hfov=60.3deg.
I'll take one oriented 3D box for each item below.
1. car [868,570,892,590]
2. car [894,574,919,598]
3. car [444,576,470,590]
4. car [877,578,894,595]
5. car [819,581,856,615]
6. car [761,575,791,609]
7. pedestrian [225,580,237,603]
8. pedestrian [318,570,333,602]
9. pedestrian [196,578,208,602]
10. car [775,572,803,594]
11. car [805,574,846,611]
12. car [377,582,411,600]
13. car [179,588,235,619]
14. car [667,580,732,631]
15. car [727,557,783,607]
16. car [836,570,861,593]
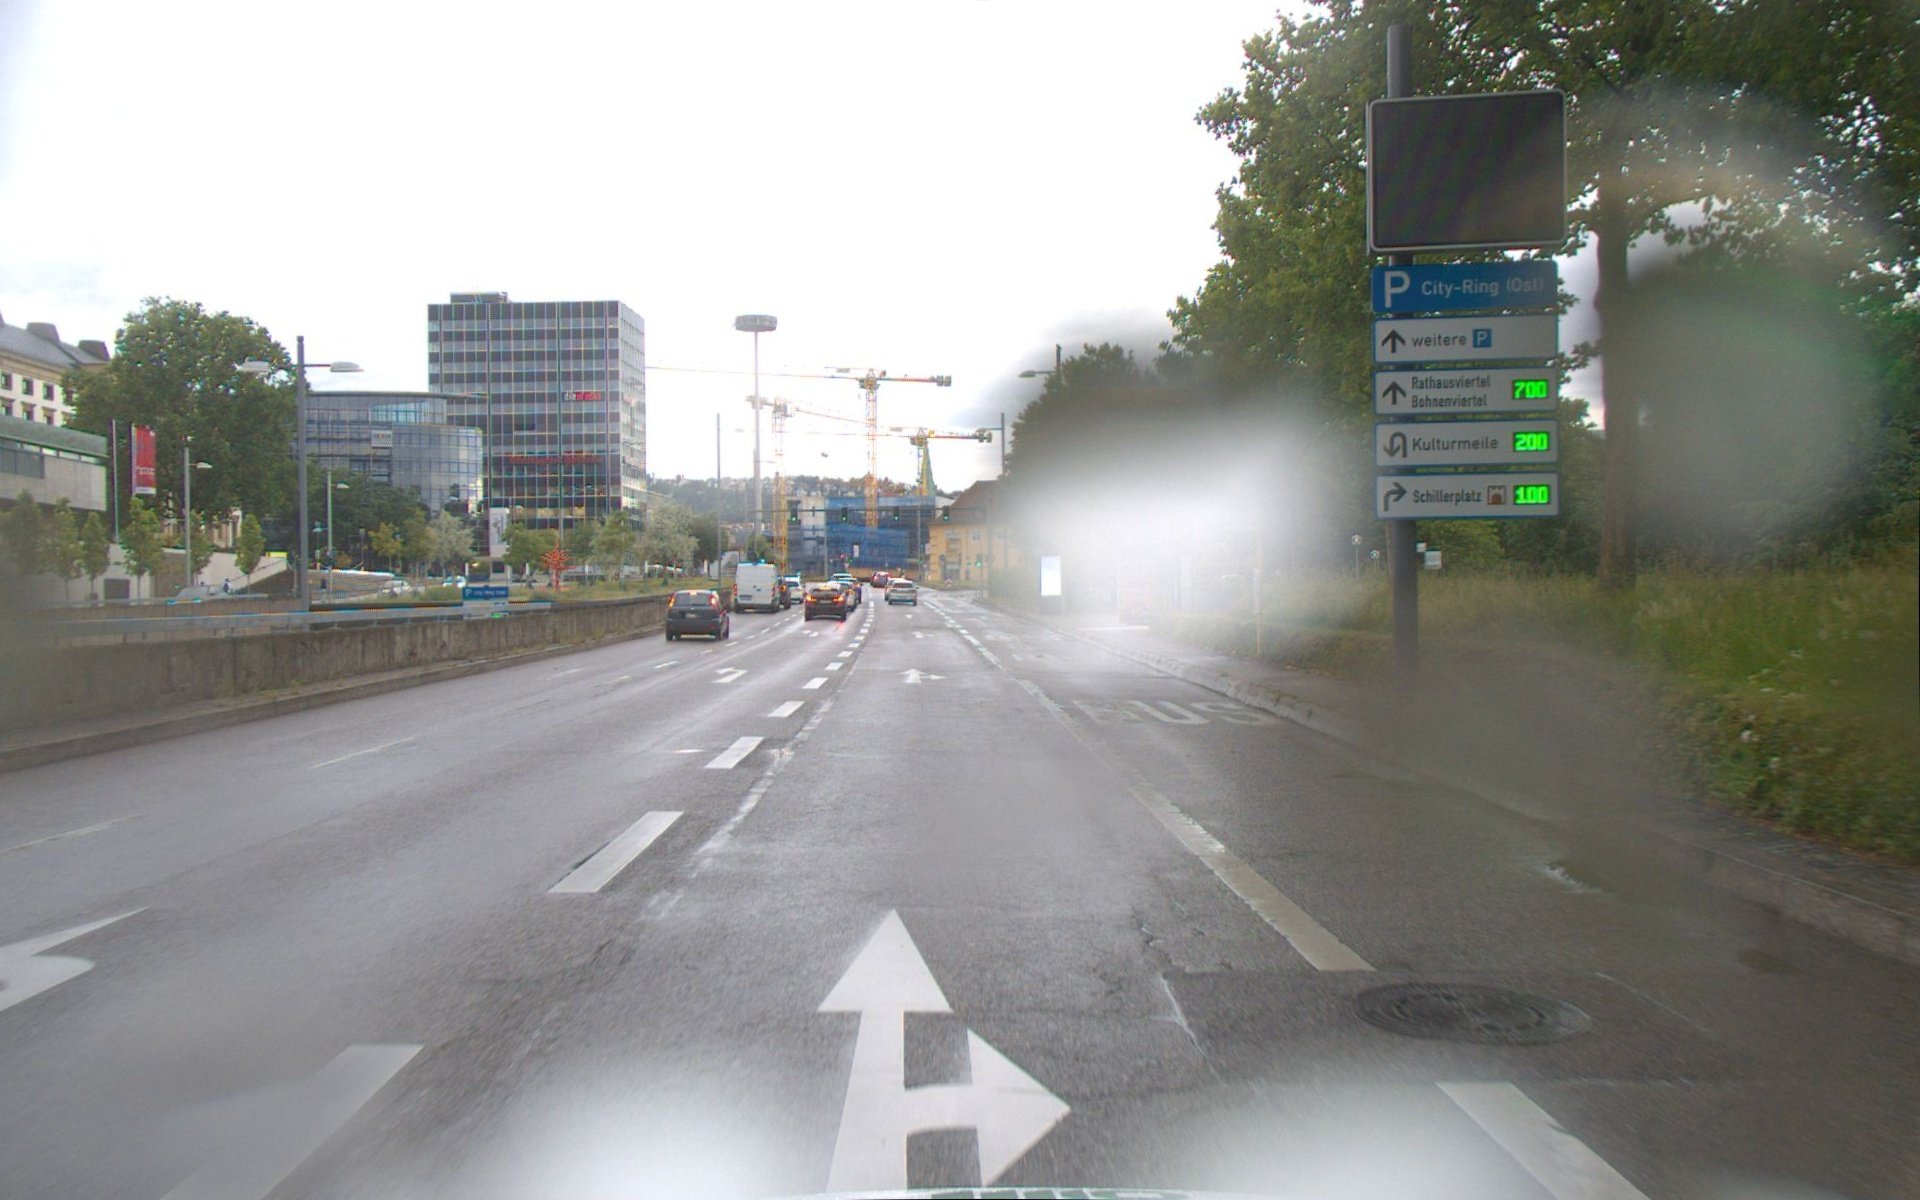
[{"bbox_3d":[-8.006,-1.984,165.659,2.117,1.912,3.770,1,0,0],"label":"car"},{"bbox_3d":[-3.227,-0.820,99.712,1.415,1.383,2.412,1,0,0],"label":"car"},{"bbox_3d":[-43.334,-1.475,142.467,1.411,1.134,3.018,1,0,-3],"label":"car"},{"bbox_3d":[-4.969,-0.897,110.181,1.054,1.007,1.971,1,-1,0],"label":"car"},{"bbox_3d":[-6.356,-0.100,85.713,1.844,1.681,3.454,1,0,-6],"label":"car"},{"bbox_3d":[-9.676,-0.393,87.082,1.435,1.736,3.138,1,0,-5],"label":"car"},{"bbox_3d":[-47.772,-0.551,108.415,0.481,1.448,0.633,0,-1,4],"label":"pedestrian"},{"bbox_3d":[-44.611,-0.979,116.273,0.718,2.126,0.760,-3,6,-37],"label":"pedestrian"},{"bbox_3d":[-45.707,-0.586,99.773,0.457,1.407,0.576,1,-1,-2],"label":"pedestrian"},{"bbox_3d":[-10.249,-1.000,99.189,1.520,1.282,2.579,1,0,-3],"label":"car"},{"bbox_3d":[-5.804,-0.339,71.589,1.719,1.497,4.219,0,1,-4],"label":"car"},{"bbox_3d":[-41.502,-0.660,121.397,1.379,1.277,3.166,1,0,0],"label":"car"},{"bbox_3d":[-36.383,0.177,79.947,1.435,1.465,2.961,1,0,-3],"label":"car"},{"bbox_3d":[-7.683,0.172,49.096,1.511,1.440,3.899,1,0,-3],"label":"car"},{"bbox_3d":[-9.942,-0.834,80.554,2.246,2.354,5.003,1,0,-2],"label":"car"},{"bbox_3d":[-6.911,-1.131,102.499,1.463,1.393,3.031,1,0,-3],"label":"car"}]
